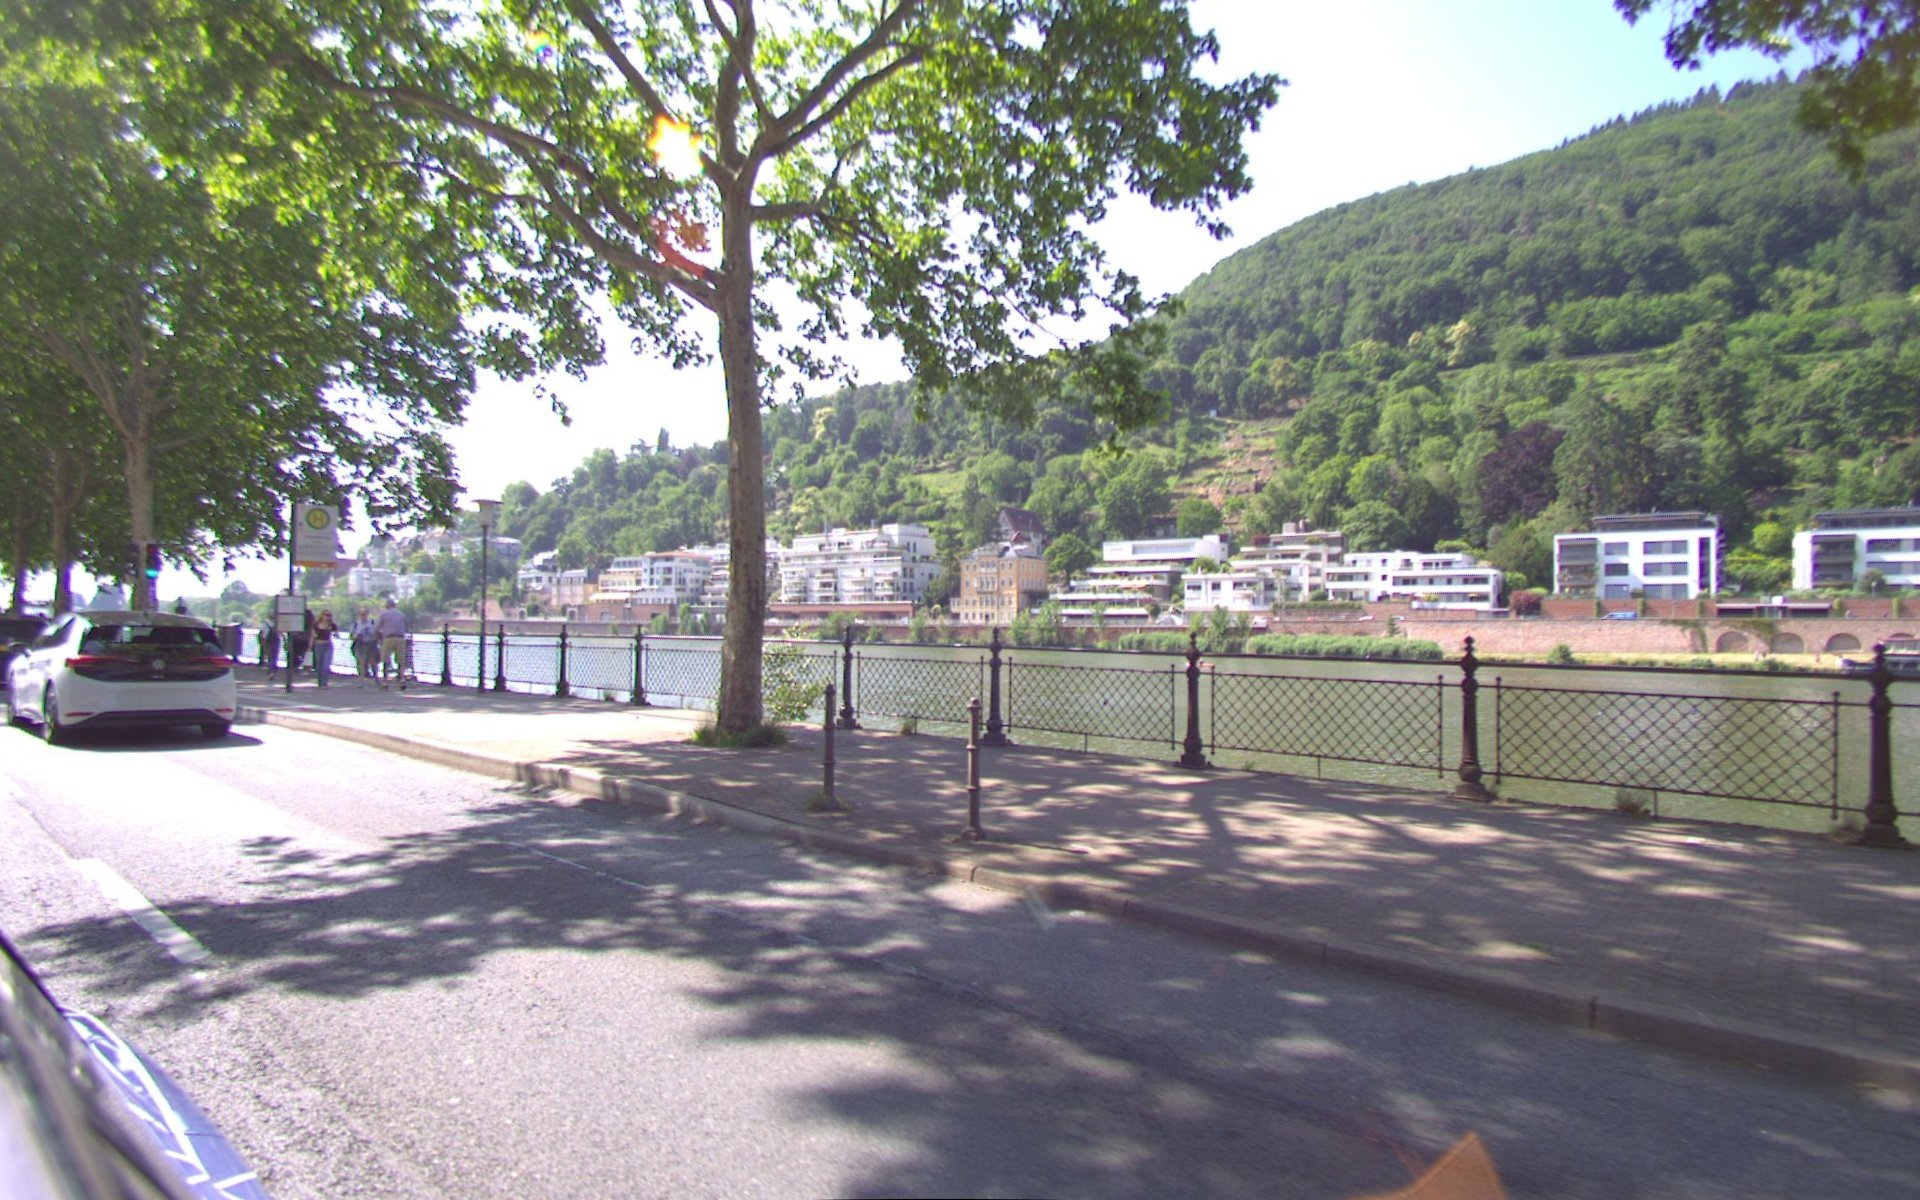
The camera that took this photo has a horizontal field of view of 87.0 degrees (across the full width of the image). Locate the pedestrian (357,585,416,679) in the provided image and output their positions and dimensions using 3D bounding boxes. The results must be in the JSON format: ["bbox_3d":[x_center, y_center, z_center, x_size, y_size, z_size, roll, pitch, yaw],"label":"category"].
[{"bbox_3d":[-11.236,0.612,19.834,0.971,1.777,0.704,0,-1,40],"label":"pedestrian"}]

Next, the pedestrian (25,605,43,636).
[{"bbox_3d":[-49.539,1.113,54.153,0.552,1.640,0.625,0,-1,40],"label":"pedestrian"}]

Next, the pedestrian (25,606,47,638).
[{"bbox_3d":[-49.674,1.153,54.417,0.709,1.696,0.783,0,0,40],"label":"pedestrian"}]

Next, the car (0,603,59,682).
[{"bbox_3d":[-20.185,0.828,21.014,4.404,1.529,1.683,0,-3,42],"label":"car"}]

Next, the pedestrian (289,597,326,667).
[{"bbox_3d":[-16.359,0.795,25.366,0.695,1.713,0.612,0,0,40],"label":"pedestrian"}]

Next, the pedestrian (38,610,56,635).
[{"bbox_3d":[-49.228,1.205,54.566,0.552,1.330,0.625,0,-2,40],"label":"pedestrian"}]

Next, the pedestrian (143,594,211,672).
[{"bbox_3d":[-18.252,0.755,23.612,1.008,1.786,0.770,0,-1,-9],"label":"pedestrian"}]

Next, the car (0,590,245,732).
[{"bbox_3d":[-10.907,0.687,13.002,4.401,1.529,1.717,0,-2,40],"label":"car"}]

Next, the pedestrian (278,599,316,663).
[{"bbox_3d":[-17.273,0.804,26.364,0.910,1.620,0.544,0,2,40],"label":"pedestrian"}]

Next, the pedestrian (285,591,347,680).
[{"bbox_3d":[-12.790,0.693,20.108,0.782,1.726,0.827,0,-1,40],"label":"pedestrian"}]

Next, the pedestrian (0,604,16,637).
[{"bbox_3d":[-51.067,1.081,54.142,0.729,1.743,0.750,0,-1,40],"label":"pedestrian"}]

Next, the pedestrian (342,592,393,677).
[{"bbox_3d":[-12.344,0.702,21.069,0.792,1.726,0.646,-1,-2,40],"label":"pedestrian"}]

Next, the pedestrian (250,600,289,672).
[{"bbox_3d":[-15.954,0.812,23.377,0.991,1.629,0.488,0,-1,40],"label":"pedestrian"}]
